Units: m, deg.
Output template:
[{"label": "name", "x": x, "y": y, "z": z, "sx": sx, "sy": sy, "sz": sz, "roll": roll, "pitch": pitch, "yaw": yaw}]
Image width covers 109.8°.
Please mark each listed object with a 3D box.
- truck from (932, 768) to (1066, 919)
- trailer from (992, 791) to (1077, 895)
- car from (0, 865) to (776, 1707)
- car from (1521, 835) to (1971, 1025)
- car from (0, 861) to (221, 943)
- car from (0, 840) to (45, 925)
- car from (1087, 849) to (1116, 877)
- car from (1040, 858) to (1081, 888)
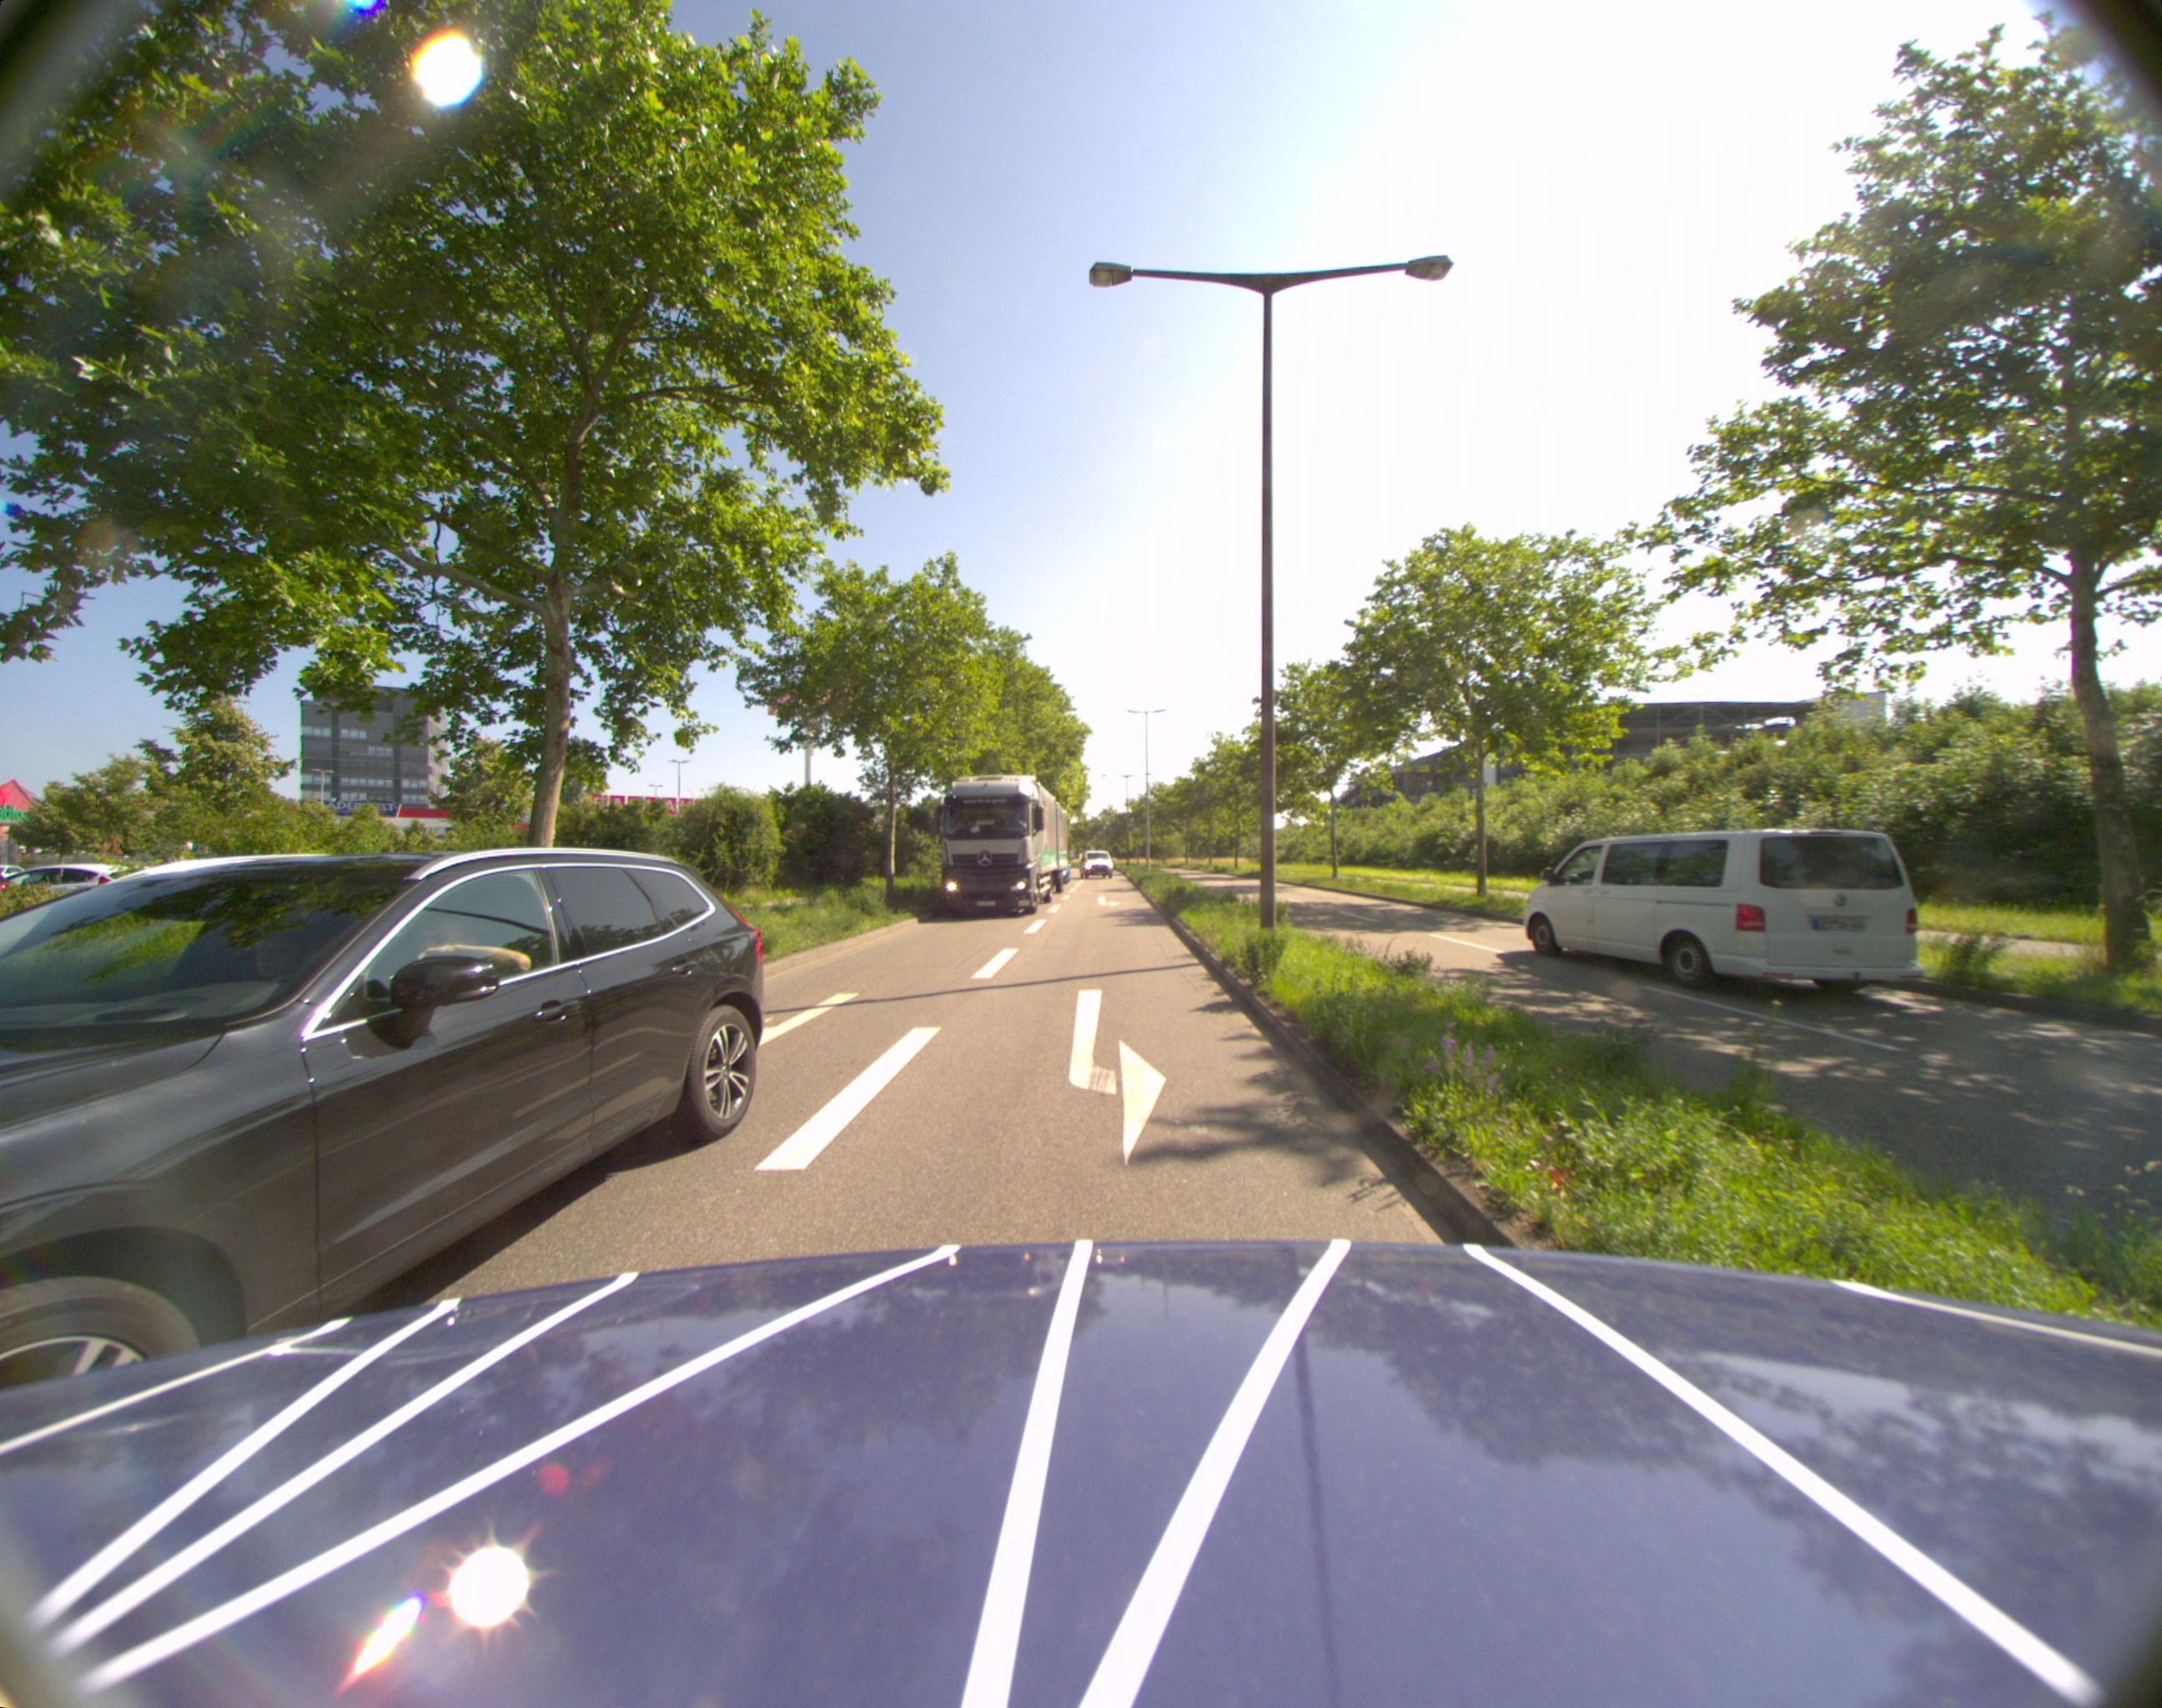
[{"label": "truck", "x": -2.210, "y": -0.315, "z": 24.022, "sx": 2.735, "sy": 3.867, "sz": 8.723, "roll": -1, "pitch": 1, "yaw": 3}, {"label": "trailer", "x": -1.744, "y": -0.449, "z": 32.226, "sx": 2.743, "sy": 3.854, "sz": 7.736, "roll": -1, "pitch": 1, "yaw": 3}, {"label": "car", "x": -2.936, "y": 0.921, "z": 2.594, "sx": 1.879, "sy": 1.582, "sz": 4.433, "roll": -2, "pitch": 1, "yaw": 1}, {"label": "car", "x": 8.083, "y": 0.757, "z": 10.024, "sx": 1.998, "sy": 1.887, "sz": 4.575, "roll": 1, "pitch": 0, "yaw": 3}, {"label": "car", "x": -22.153, "y": 1.041, "z": 16.726, "sx": 4.083, "sy": 1.582, "sz": 1.880, "roll": -2, "pitch": 1, "yaw": -2}, {"label": "car", "x": -22.175, "y": 0.619, "z": 13.733, "sx": 4.083, "sy": 1.582, "sz": 1.880, "roll": -2, "pitch": 1, "yaw": -2}, {"label": "car", "x": 1.399, "y": 0.598, "z": 53.077, "sx": 1.872, "sy": 1.889, "sz": 4.881, "roll": 0, "pitch": 0, "yaw": 1}, {"label": "car", "x": -0.985, "y": 0.918, "z": 38.279, "sx": 1.872, "sy": 1.412, "sz": 4.130, "roll": 0, "pitch": 0, "yaw": 1}]
